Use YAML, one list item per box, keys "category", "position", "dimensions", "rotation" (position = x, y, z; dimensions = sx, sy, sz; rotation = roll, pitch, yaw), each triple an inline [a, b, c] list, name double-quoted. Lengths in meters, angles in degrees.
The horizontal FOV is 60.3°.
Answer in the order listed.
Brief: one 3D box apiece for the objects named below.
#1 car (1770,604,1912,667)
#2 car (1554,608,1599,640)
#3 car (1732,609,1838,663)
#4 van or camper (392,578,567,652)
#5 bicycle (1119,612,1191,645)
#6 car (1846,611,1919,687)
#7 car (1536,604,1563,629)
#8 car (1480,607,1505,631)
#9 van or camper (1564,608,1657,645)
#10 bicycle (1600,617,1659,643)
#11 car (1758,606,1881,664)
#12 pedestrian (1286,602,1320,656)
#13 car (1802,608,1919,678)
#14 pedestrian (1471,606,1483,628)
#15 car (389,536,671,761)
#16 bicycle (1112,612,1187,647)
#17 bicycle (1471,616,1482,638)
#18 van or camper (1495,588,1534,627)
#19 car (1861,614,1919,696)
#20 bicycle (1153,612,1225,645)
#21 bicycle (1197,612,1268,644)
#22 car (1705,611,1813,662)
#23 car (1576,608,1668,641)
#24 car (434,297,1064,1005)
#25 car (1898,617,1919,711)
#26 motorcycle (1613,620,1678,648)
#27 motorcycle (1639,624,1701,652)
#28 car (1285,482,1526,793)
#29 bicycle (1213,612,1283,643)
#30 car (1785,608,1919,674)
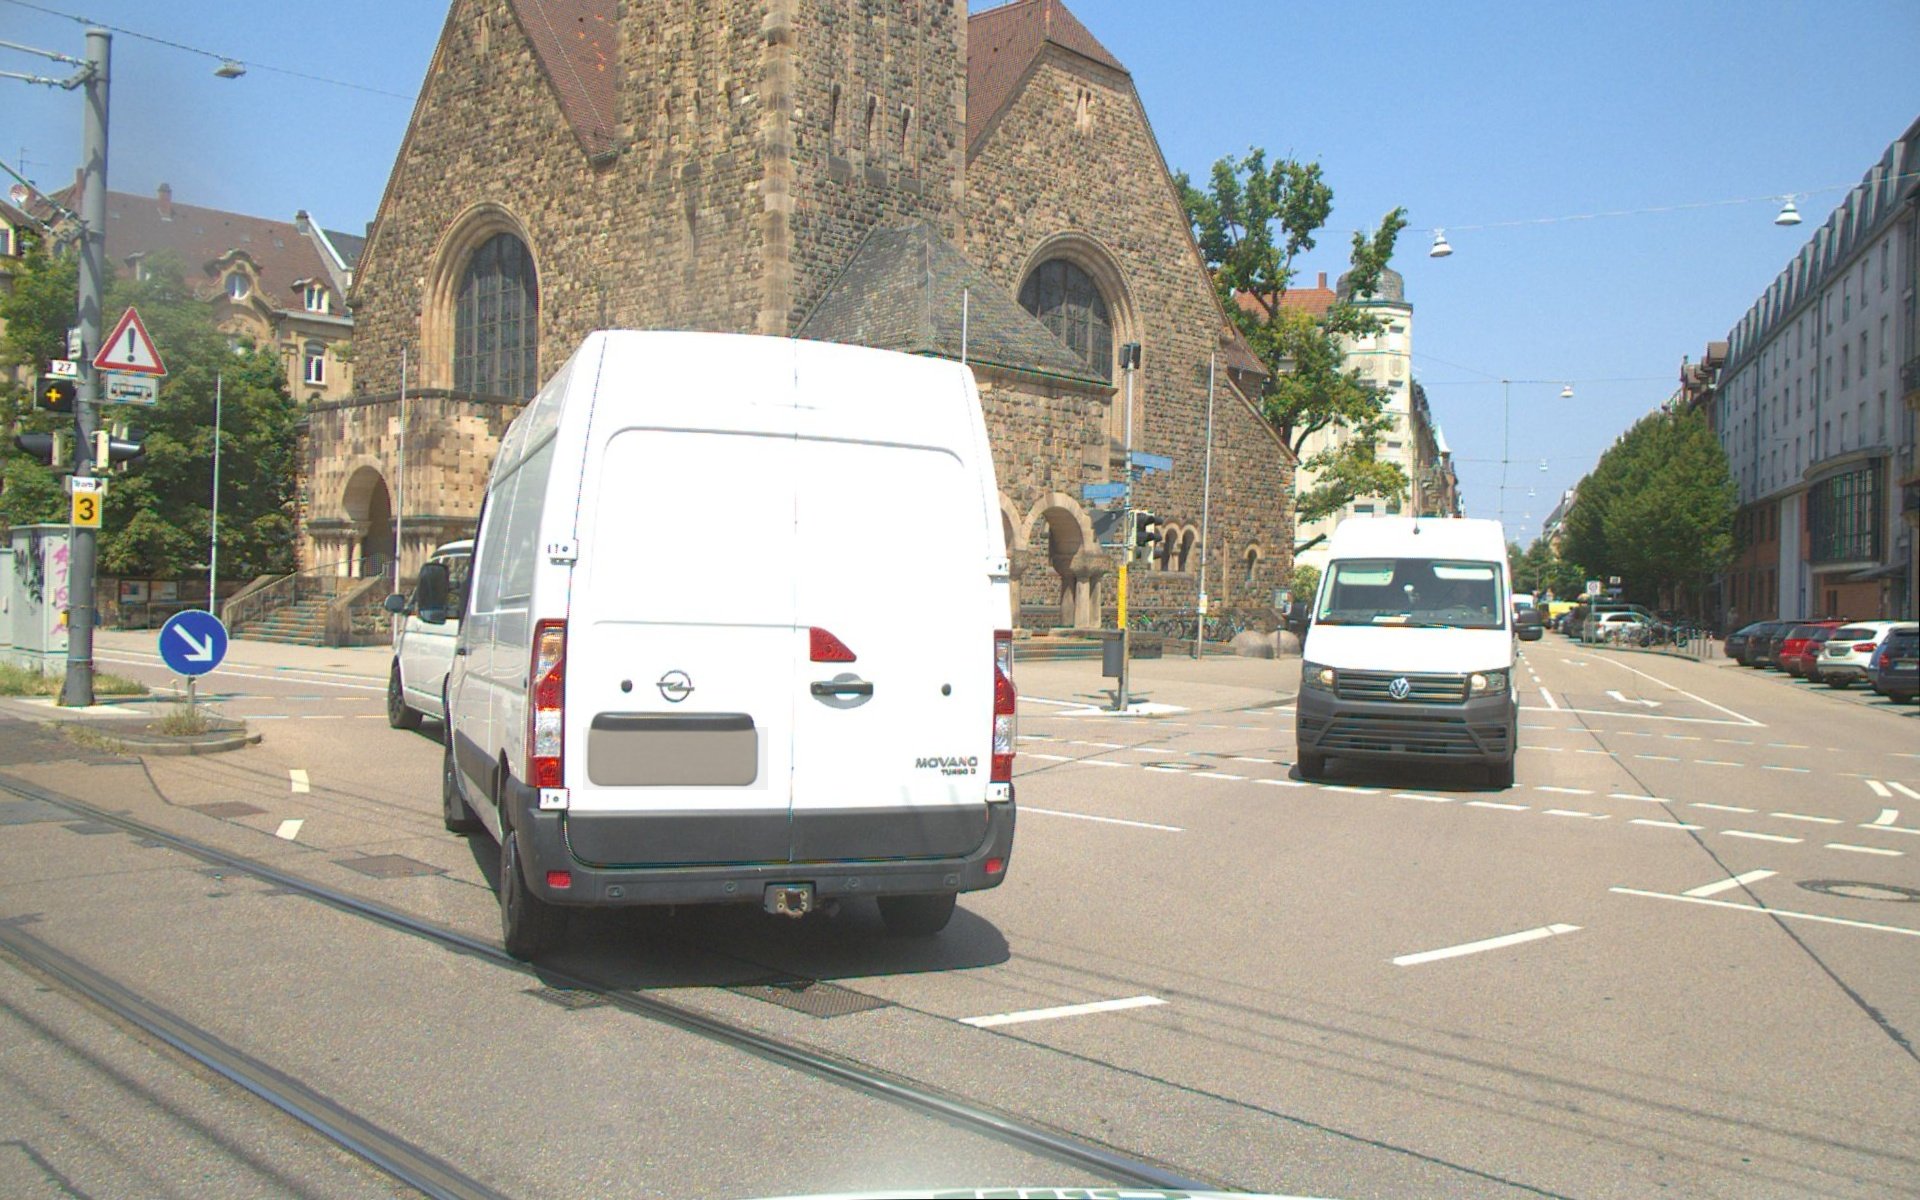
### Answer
- category: "car"
  position: [23.815, 0.961, 44.753]
  dimensions: [3.165, 1.603, 1.609]
  rotation: [-1, -2, -17]
- category: "car"
  position: [36.676, 1.419, 98.444]
  dimensions: [1.912, 1.780, 4.003]
  rotation: [1, 0, 11]
- category: "car"
  position: [25.512, 1.113, 51.126]
  dimensions: [3.185, 1.603, 1.479]
  rotation: [0, -2, -32]
- category: "van or camper"
  position: [-12.507, 0.406, 43.240]
  dimensions: [1.963, 1.839, 3.979]
  rotation: [1, -1, 40]
- category: "bicycle"
  position: [6.353, 0.916, 54.018]
  dimensions: [0.701, 1.029, 2.457]
  rotation: [0, 0, -45]
- category: "car"
  position: [21.300, 1.053, 36.281]
  dimensions: [3.170, 1.603, 1.606]
  rotation: [0, -2, -22]
- category: "car"
  position: [49.285, 1.387, 138.222]
  dimensions: [1.868, 2.049, 3.998]
  rotation: [0, -1, 24]
- category: "car"
  position: [48.335, 1.740, 150.123]
  dimensions: [1.952, 2.049, 4.001]
  rotation: [1, 0, 20]
- category: "van or camper"
  position: [34.671, 1.406, 88.198]
  dimensions: [4.232, 1.870, 1.996]
  rotation: [1, 0, -8]
- category: "bicycle"
  position: [31.766, 1.417, 78.511]
  dimensions: [2.539, 1.195, 0.682]
  rotation: [1, -1, -4]
- category: "car"
  position: [25.067, 1.024, 48.249]
  dimensions: [3.176, 1.603, 1.603]
  rotation: [0, -2, -26]
- category: "pedestrian"
  position: [10.244, 0.852, 49.404]
  dimensions: [0.706, 1.586, 0.789]
  rotation: [1, -1, 36]
- category: "car"
  position: [21.907, 1.010, 39.289]
  dimensions: [3.165, 1.603, 1.609]
  rotation: [-1, -2, -18]
- category: "pedestrian"
  position: [34.173, 1.119, 109.413]
  dimensions: [0.715, 1.445, 0.799]
  rotation: [1, 0, 16]
- category: "car"
  position: [-4.509, 0.436, 16.872]
  dimensions: [1.894, 1.978, 4.226]
  rotation: [1, -1, -27]
- category: "bicycle"
  position: [6.019, 0.922, 52.616]
  dimensions: [0.701, 1.029, 2.457]
  rotation: [0, 0, -45]
- category: "bicycle"
  position: [34.205, 1.773, 109.524]
  dimensions: [0.658, 1.383, 2.070]
  rotation: [1, 0, 16]
- category: "van or camper"
  position: [32.802, 0.421, 97.903]
  dimensions: [1.993, 2.179, 4.582]
  rotation: [1, 0, 17]
- category: "car"
  position: [20.047, 1.069, 33.374]
  dimensions: [3.170, 1.603, 1.606]
  rotation: [0, -2, -22]
- category: "bicycle"
  position: [7.614, 0.926, 55.195]
  dimensions: [0.701, 1.029, 2.457]
  rotation: [0, 0, -45]
- category: "bicycle"
  position: [9.339, 0.942, 56.716]
  dimensions: [0.701, 1.029, 2.457]
  rotation: [0, 0, -45]
- category: "car"
  position: [26.126, 1.183, 54.083]
  dimensions: [3.179, 1.603, 1.602]
  rotation: [0, -2, -28]
- category: "car"
  position: [32.975, 1.223, 82.435]
  dimensions: [3.909, 1.576, 1.748]
  rotation: [1, -1, -5]
- category: "car"
  position: [-1.463, 0.197, 8.589]
  dimensions: [2.087, 2.502, 5.022]
  rotation: [1, 0, -21]
- category: "car"
  position: [18.898, 1.126, 30.031]
  dimensions: [3.170, 1.694, 1.606]
  rotation: [0, -2, -22]
- category: "motorcycle"
  position: [30.896, 1.519, 74.584]
  dimensions: [2.654, 1.195, 0.775]
  rotation: [1, -1, 21]
- category: "motorcycle"
  position: [32.162, 1.711, 74.986]
  dimensions: [2.537, 1.195, 0.682]
  rotation: [1, -1, 21]
- category: "car"
  position: [4.956, 0.299, 17.755]
  dimensions: [2.027, 2.683, 6.636]
  rotation: [1, 0, 18]
- category: "bicycle"
  position: [9.994, 0.946, 57.503]
  dimensions: [0.701, 1.029, 2.457]
  rotation: [0, 0, -45]
- category: "car"
  position: [22.858, 1.034, 42.020]
  dimensions: [3.165, 1.603, 1.609]
  rotation: [-1, -2, -17]
